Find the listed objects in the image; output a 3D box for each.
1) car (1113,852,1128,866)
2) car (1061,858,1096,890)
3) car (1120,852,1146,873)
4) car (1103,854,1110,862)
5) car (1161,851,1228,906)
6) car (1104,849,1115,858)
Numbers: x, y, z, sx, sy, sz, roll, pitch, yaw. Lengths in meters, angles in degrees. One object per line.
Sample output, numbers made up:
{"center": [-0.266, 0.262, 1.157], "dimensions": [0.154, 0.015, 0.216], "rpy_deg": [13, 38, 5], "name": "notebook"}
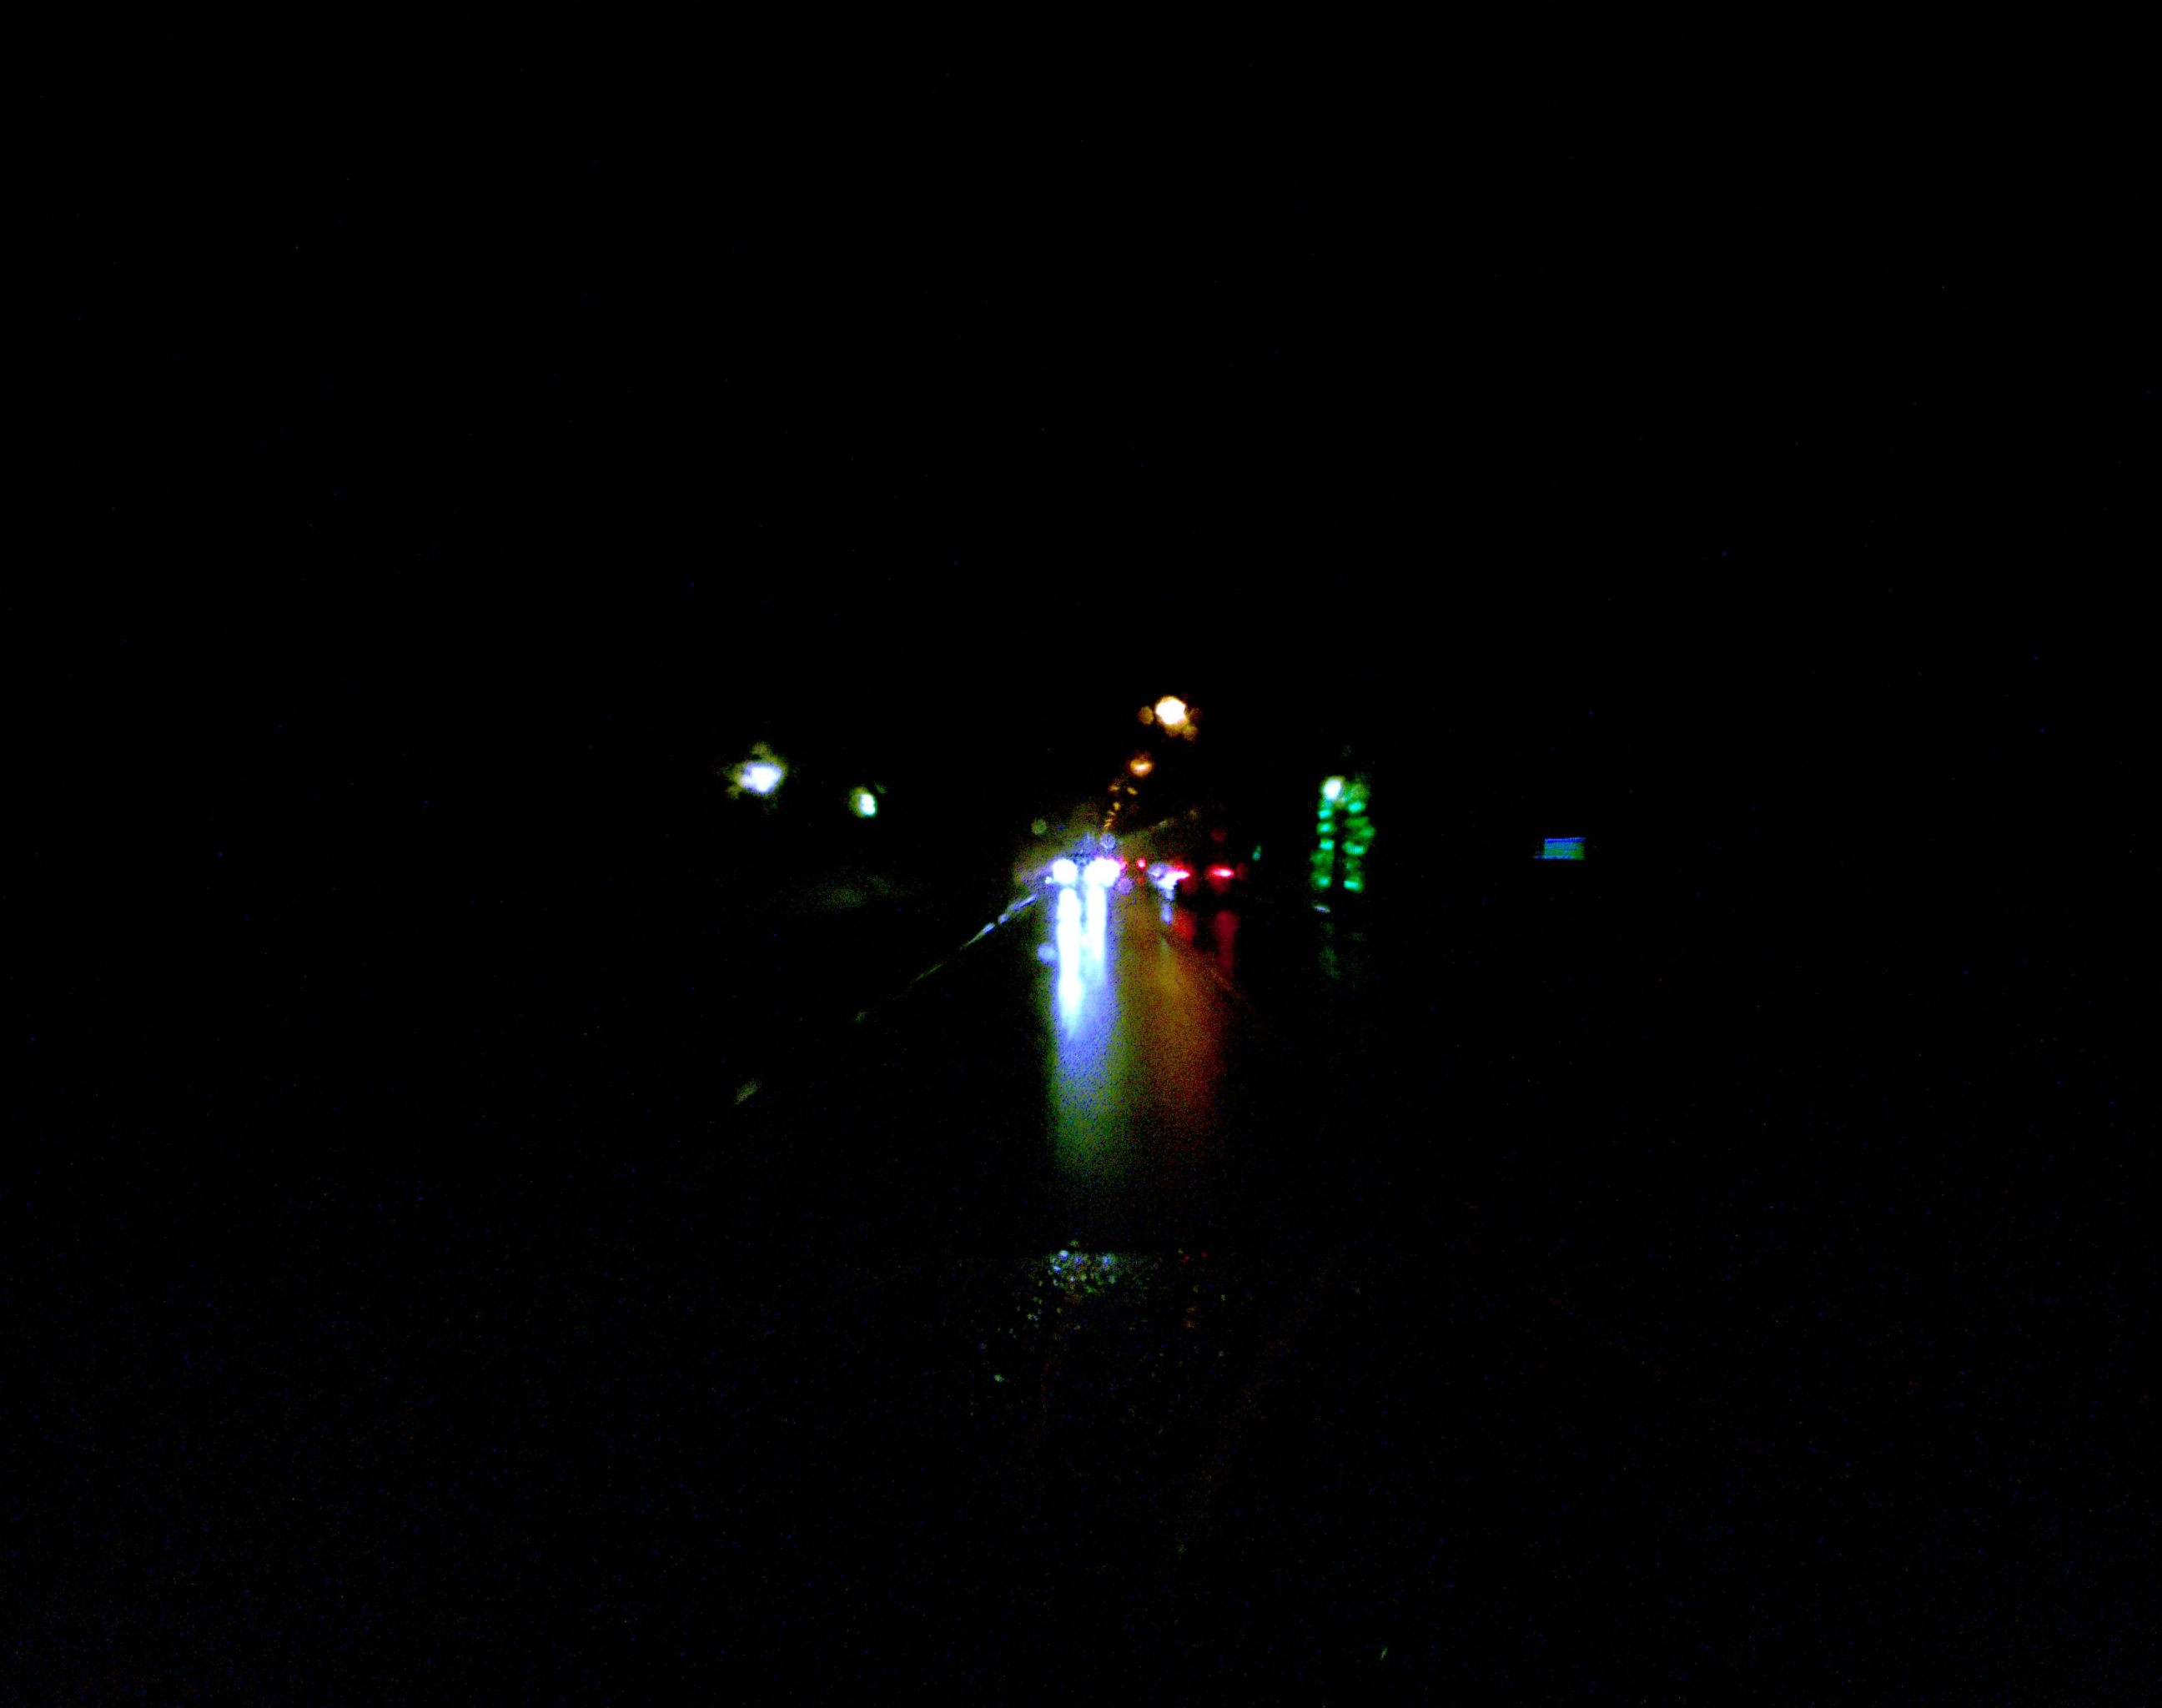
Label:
{"center": [4.802, 0.578, 93.460], "dimensions": [1.701, 1.666, 4.127], "rpy_deg": [-1, 0, 1], "name": "car"}
{"center": [-0.079, 0.959, 38.387], "dimensions": [1.627, 1.487, 3.585], "rpy_deg": [-1, 0, 1], "name": "car"}
{"center": [3.905, 0.623, 57.664], "dimensions": [1.753, 1.471, 4.476], "rpy_deg": [-1, 0, 1], "name": "car"}
{"center": [6.934, 1.044, 203.704], "dimensions": [1.785, 1.917, 5.138], "rpy_deg": [-1, 0, 1], "name": "car"}
{"center": [3.443, 0.711, 23.645], "dimensions": [1.524, 1.540, 4.055], "rpy_deg": [-1, -1, 1], "name": "car"}
{"center": [5.380, -0.120, 143.553], "dimensions": [1.918, 1.718, 4.001], "rpy_deg": [-1, 0, 4], "name": "car"}
